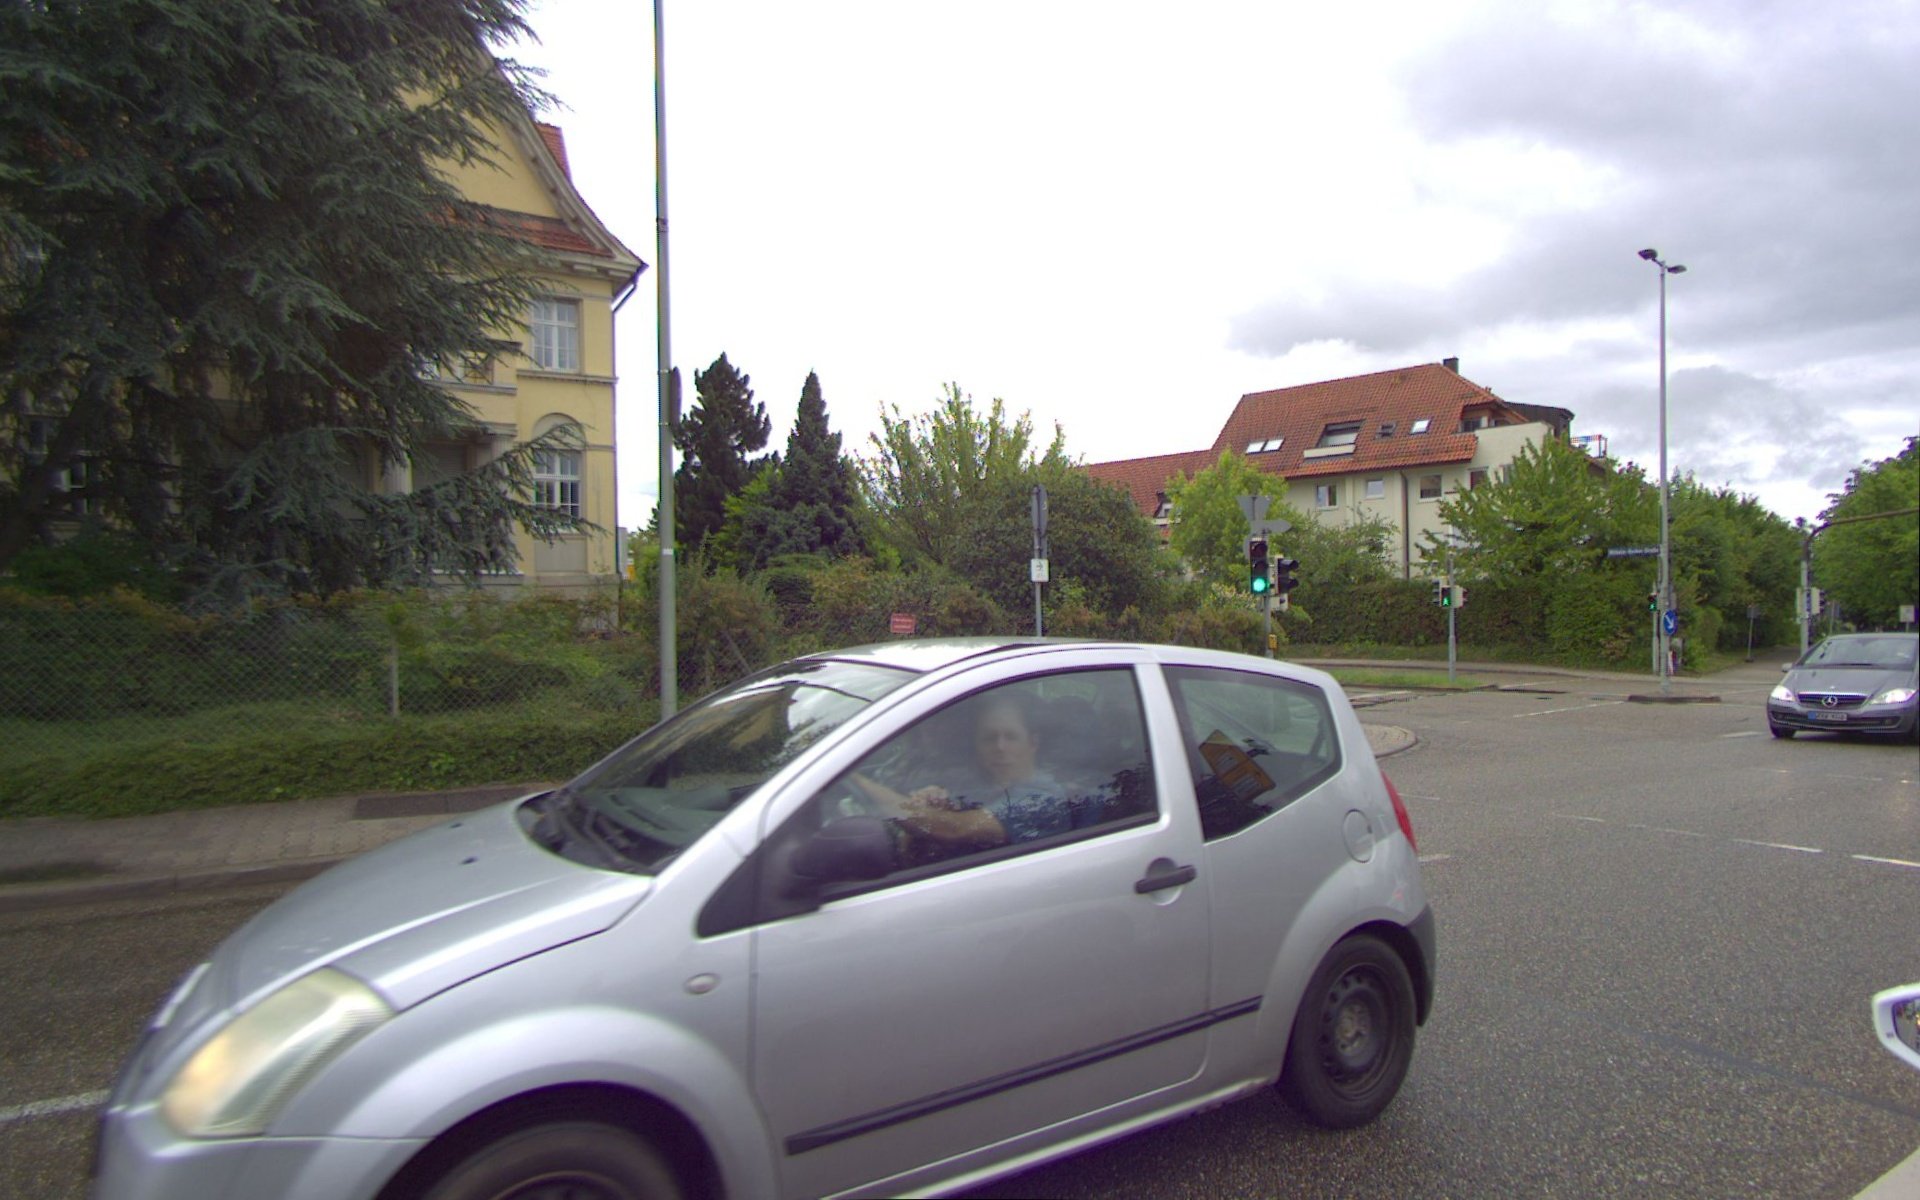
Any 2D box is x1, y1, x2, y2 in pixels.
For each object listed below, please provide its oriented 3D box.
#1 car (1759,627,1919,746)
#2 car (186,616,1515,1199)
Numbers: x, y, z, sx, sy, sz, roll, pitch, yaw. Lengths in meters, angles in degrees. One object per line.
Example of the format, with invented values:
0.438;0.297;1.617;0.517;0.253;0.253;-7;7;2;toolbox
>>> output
13.959;1.235;15.332;3.510;1.620;1.690;1;-2;-32;car
-0.079;0.828;3.107;3.478;1.479;1.631;1;-3;-31;car
